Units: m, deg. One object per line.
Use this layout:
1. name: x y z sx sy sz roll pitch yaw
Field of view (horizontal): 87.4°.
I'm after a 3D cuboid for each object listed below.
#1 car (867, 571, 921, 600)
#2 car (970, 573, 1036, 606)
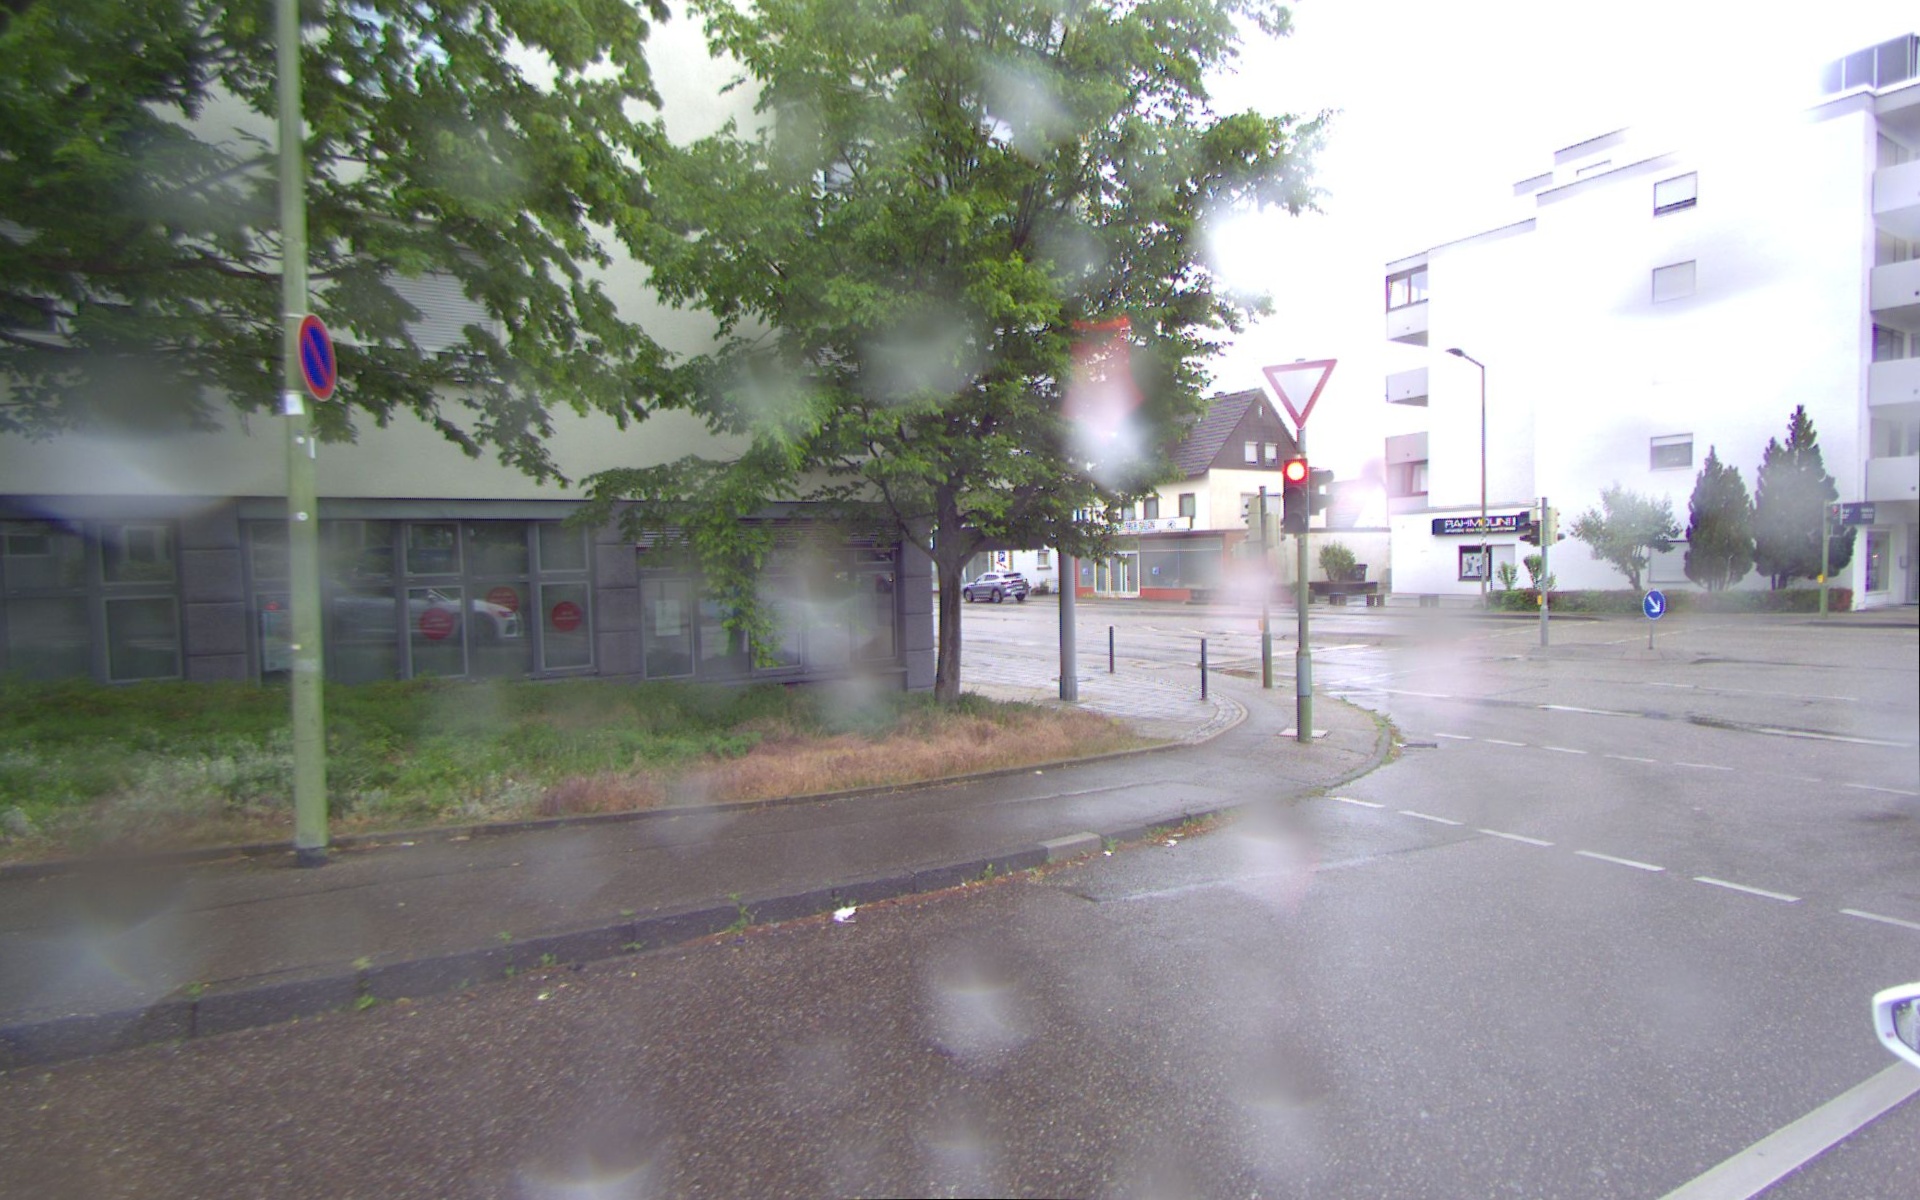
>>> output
1. car: -4.418 -0.987 67.043 2.087 1.719 3.968 -1 4 -30
2. car: 2.394 -0.628 57.231 1.976 1.718 3.968 -1 3 -30
